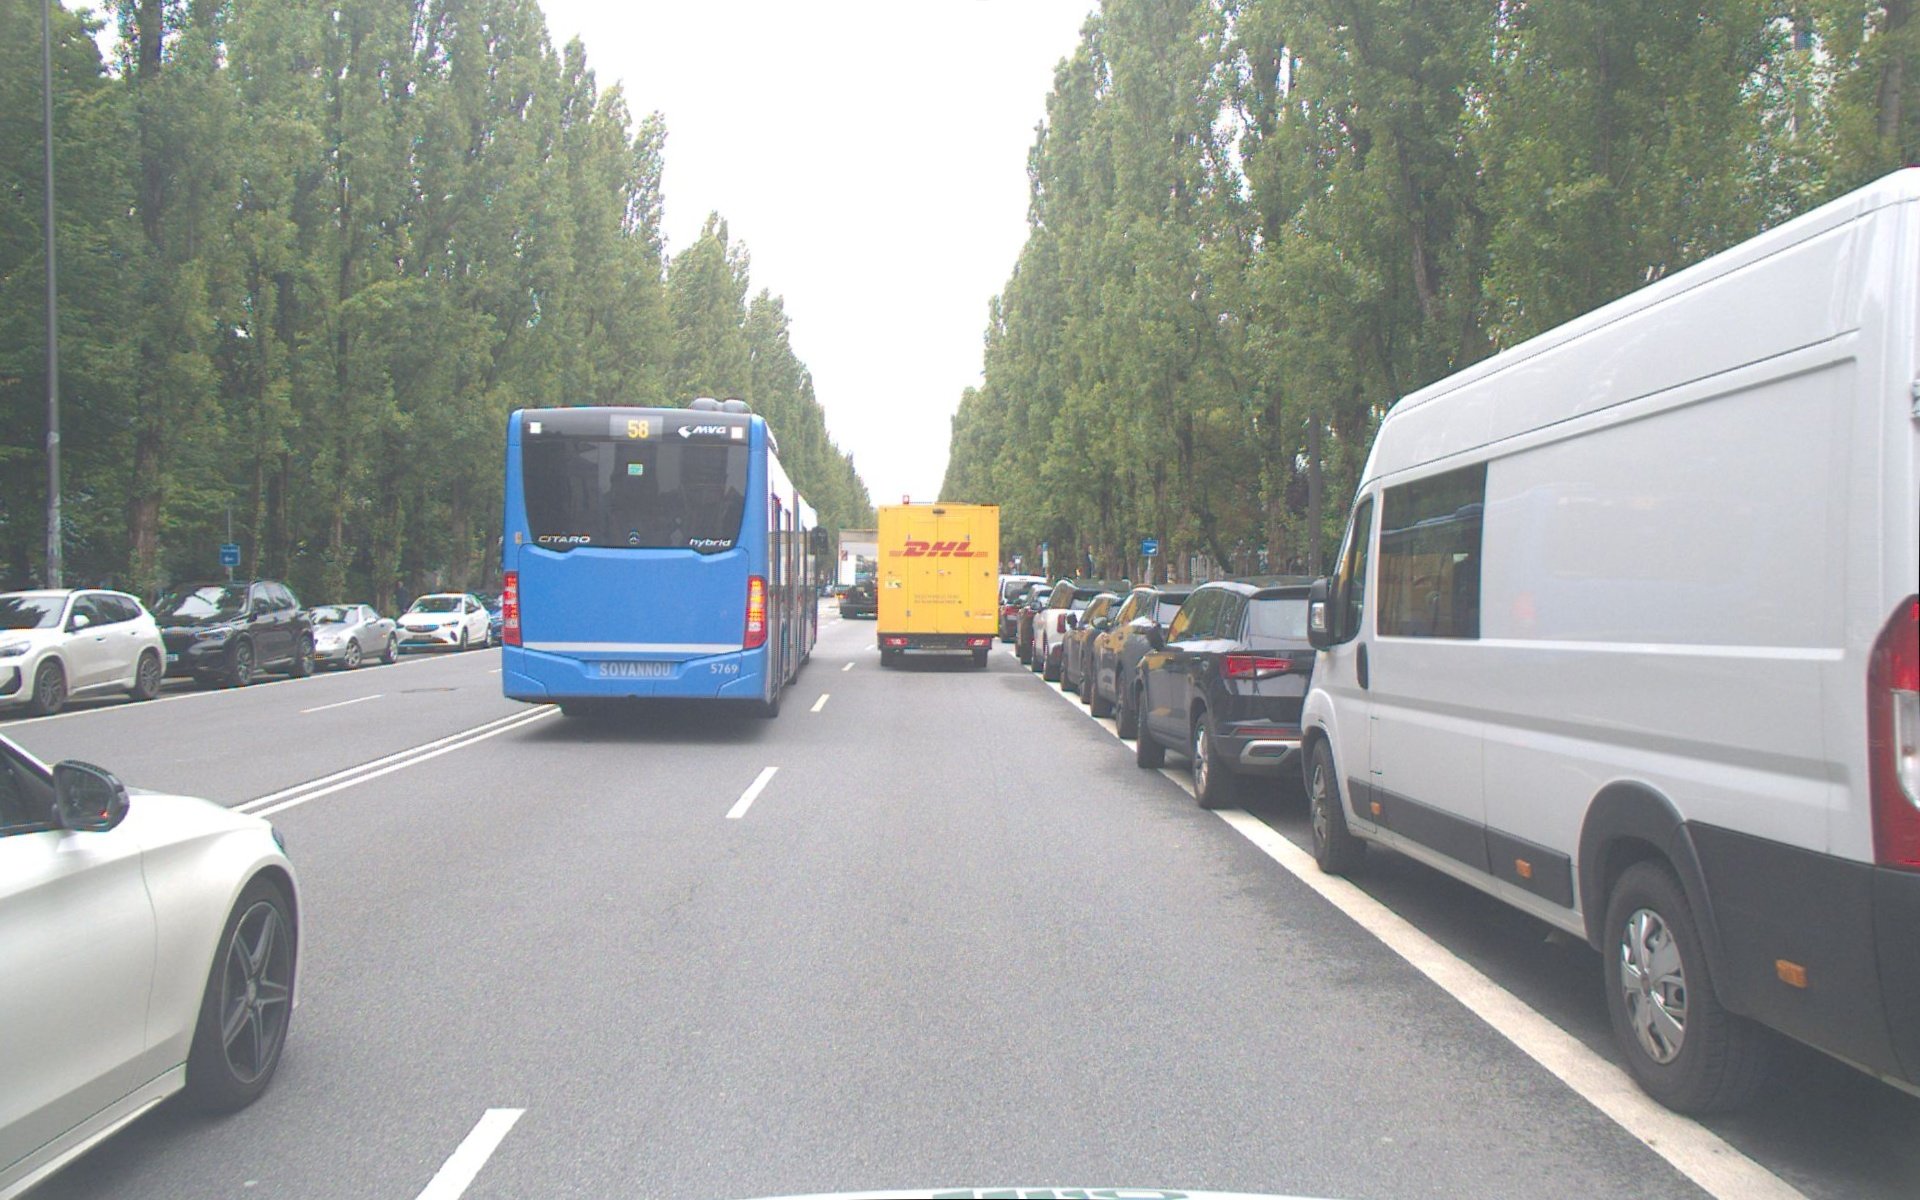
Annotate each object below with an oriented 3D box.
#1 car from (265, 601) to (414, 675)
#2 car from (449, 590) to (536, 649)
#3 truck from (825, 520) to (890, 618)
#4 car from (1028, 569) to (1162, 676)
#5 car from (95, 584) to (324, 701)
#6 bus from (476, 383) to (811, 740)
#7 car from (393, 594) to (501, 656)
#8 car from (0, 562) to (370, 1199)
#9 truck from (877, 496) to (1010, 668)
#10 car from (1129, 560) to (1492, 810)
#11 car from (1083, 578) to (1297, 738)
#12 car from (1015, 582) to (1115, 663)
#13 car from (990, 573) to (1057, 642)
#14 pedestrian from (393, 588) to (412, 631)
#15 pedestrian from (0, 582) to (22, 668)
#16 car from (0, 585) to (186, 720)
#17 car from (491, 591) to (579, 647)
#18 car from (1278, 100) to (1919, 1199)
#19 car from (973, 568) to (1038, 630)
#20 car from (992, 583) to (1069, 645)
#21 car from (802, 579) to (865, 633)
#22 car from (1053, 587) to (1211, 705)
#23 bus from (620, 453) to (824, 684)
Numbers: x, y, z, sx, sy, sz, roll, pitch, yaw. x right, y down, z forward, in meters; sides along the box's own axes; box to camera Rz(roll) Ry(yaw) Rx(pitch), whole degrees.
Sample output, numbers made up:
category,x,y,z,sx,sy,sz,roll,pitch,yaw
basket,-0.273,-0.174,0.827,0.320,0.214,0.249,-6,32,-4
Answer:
category,x,y,z,sx,sy,sz,roll,pitch,yaw
car,-12.671,0.743,34.015,1.548,1.327,4.028,-2,1,-1
car,-13.258,0.519,47.060,1.710,1.545,4.112,-2,0,-7
truck,-4.527,-1.344,73.158,2.662,4.034,9.211,0,1,-4
car,2.187,0.330,27.806,1.745,1.609,4.145,2,0,-2
car,-12.533,0.633,27.991,1.843,1.687,4.716,-3,1,-3
bus,-3.318,-0.399,19.762,2.799,3.269,9.053,0,1,-4
car,-13.173,0.601,42.681,1.651,1.437,4.002,-2,0,-3
car,-2.756,0.658,3.023,1.789,1.480,4.581,1,0,-1
truck,-0.410,-0.343,32.132,2.281,2.949,7.330,0,0,-2
car,2.492,0.539,12.846,1.784,1.618,4.221,0,0,-2
car,2.380,0.545,18.054,1.618,1.529,4.112,1,0,-2
car,2.054,0.413,33.374,1.690,1.521,4.323,0,0,-1
car,1.877,0.199,50.007,1.769,2.011,4.235,0,0,-1
pedestrian,-23.416,0.392,69.469,0.587,1.769,0.640,-1,0,-2
pedestrian,-20.857,0.539,35.834,0.627,1.847,0.775,0,0,-2
car,-12.444,0.660,22.468,1.749,1.616,4.460,-3,1,-1
car,-13.443,0.565,52.543,1.755,1.575,4.336,-3,0,-3
car,3.004,0.147,6.655,2.032,2.522,6.281,1,1,-2
car,1.558,-0.067,58.244,2.011,2.049,5.691,-1,1,-1
car,1.851,0.342,44.491,1.825,1.579,3.999,0,0,-1
car,-4.487,0.183,59.273,1.994,1.833,4.506,-1,1,-1
car,2.323,0.576,23.249,1.600,1.471,4.147,2,0,-2
bus,-3.871,-0.510,29.057,2.815,3.361,9.781,0,0,-4
